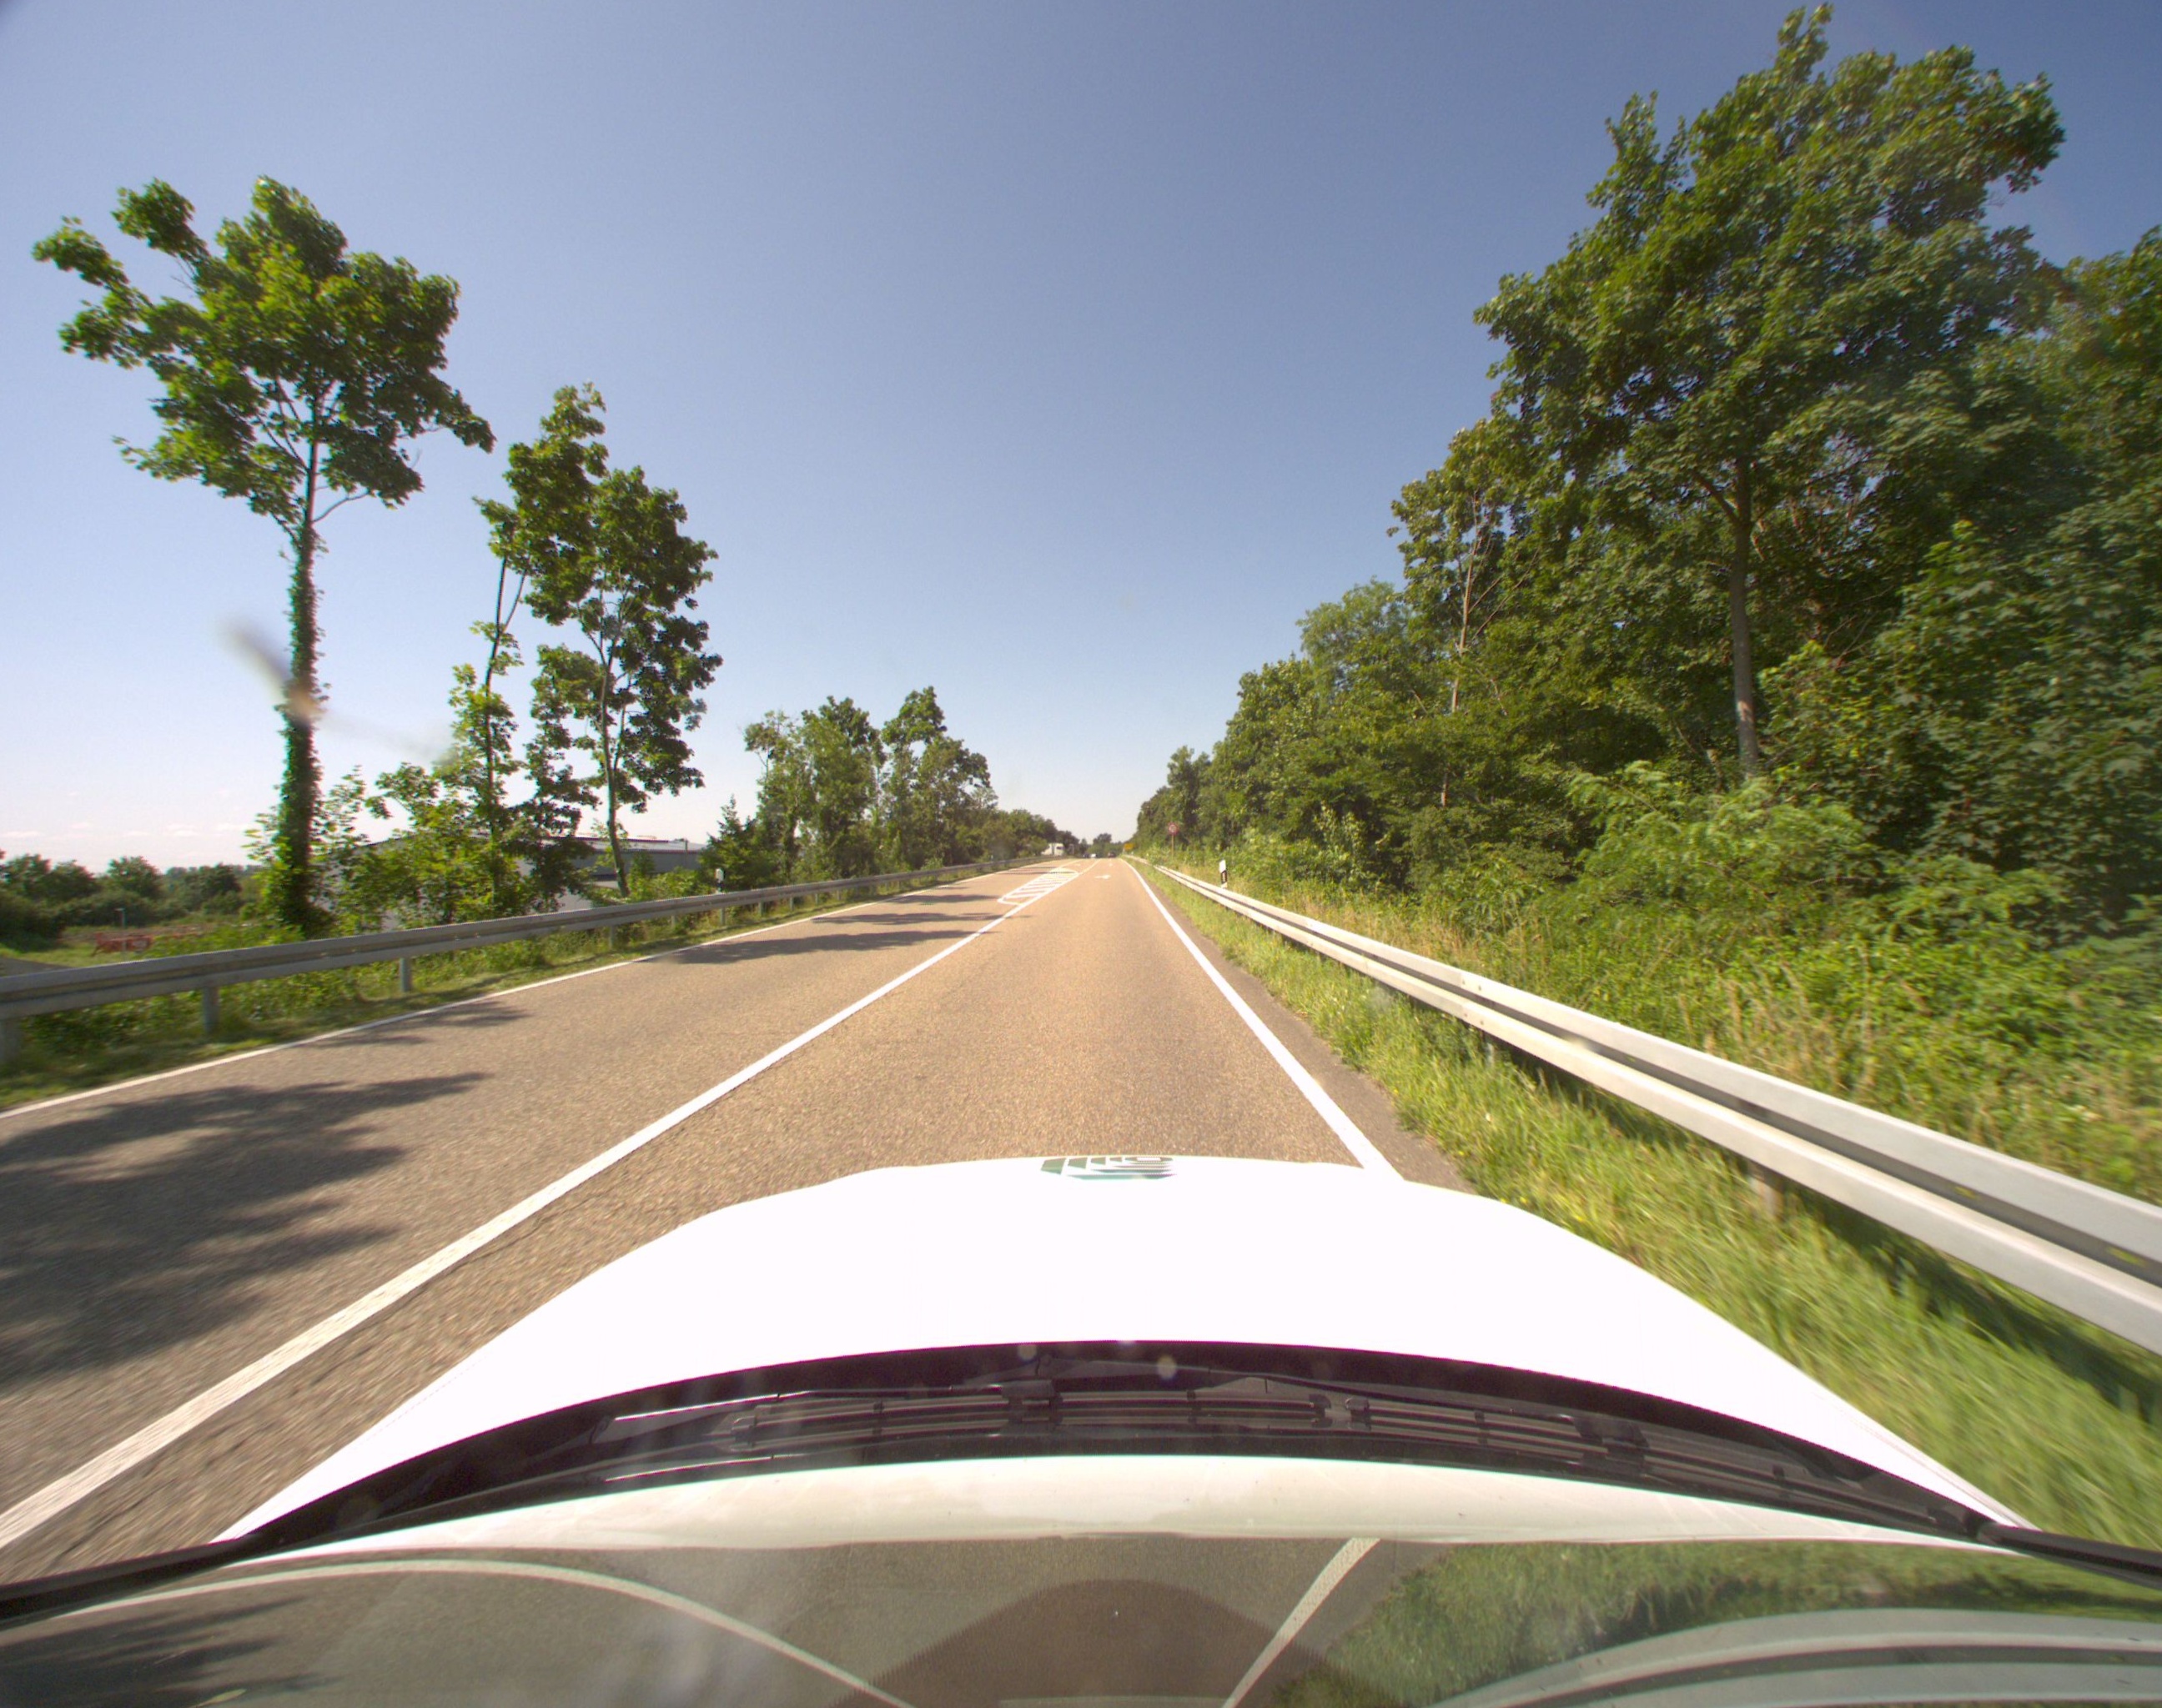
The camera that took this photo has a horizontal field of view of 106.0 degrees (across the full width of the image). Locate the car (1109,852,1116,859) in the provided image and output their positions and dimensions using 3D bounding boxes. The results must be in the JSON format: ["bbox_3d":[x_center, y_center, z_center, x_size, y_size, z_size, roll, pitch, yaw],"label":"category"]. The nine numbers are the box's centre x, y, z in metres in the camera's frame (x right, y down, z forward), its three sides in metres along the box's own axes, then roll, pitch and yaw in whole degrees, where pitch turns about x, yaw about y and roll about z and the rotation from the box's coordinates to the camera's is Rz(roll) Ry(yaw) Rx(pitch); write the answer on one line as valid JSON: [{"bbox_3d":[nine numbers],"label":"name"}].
[{"bbox_3d":[7.393,0.328,190.082,1.734,1.470,3.694,-1,0,2],"label":"car"}]

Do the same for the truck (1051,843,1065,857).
[{"bbox_3d":[-5.896,-0.921,209.090,3.450,3.537,2.002,-1,0,3],"label":"truck"}]

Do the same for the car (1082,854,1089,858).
[{"bbox_3d":[1.325,0.581,235.506,1.724,1.267,3.907,-1,0,2],"label":"car"}]

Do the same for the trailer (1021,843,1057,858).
[{"bbox_3d":[-10.814,-0.858,209.365,9.063,3.578,2.002,-1,0,3],"label":"trailer"}]
